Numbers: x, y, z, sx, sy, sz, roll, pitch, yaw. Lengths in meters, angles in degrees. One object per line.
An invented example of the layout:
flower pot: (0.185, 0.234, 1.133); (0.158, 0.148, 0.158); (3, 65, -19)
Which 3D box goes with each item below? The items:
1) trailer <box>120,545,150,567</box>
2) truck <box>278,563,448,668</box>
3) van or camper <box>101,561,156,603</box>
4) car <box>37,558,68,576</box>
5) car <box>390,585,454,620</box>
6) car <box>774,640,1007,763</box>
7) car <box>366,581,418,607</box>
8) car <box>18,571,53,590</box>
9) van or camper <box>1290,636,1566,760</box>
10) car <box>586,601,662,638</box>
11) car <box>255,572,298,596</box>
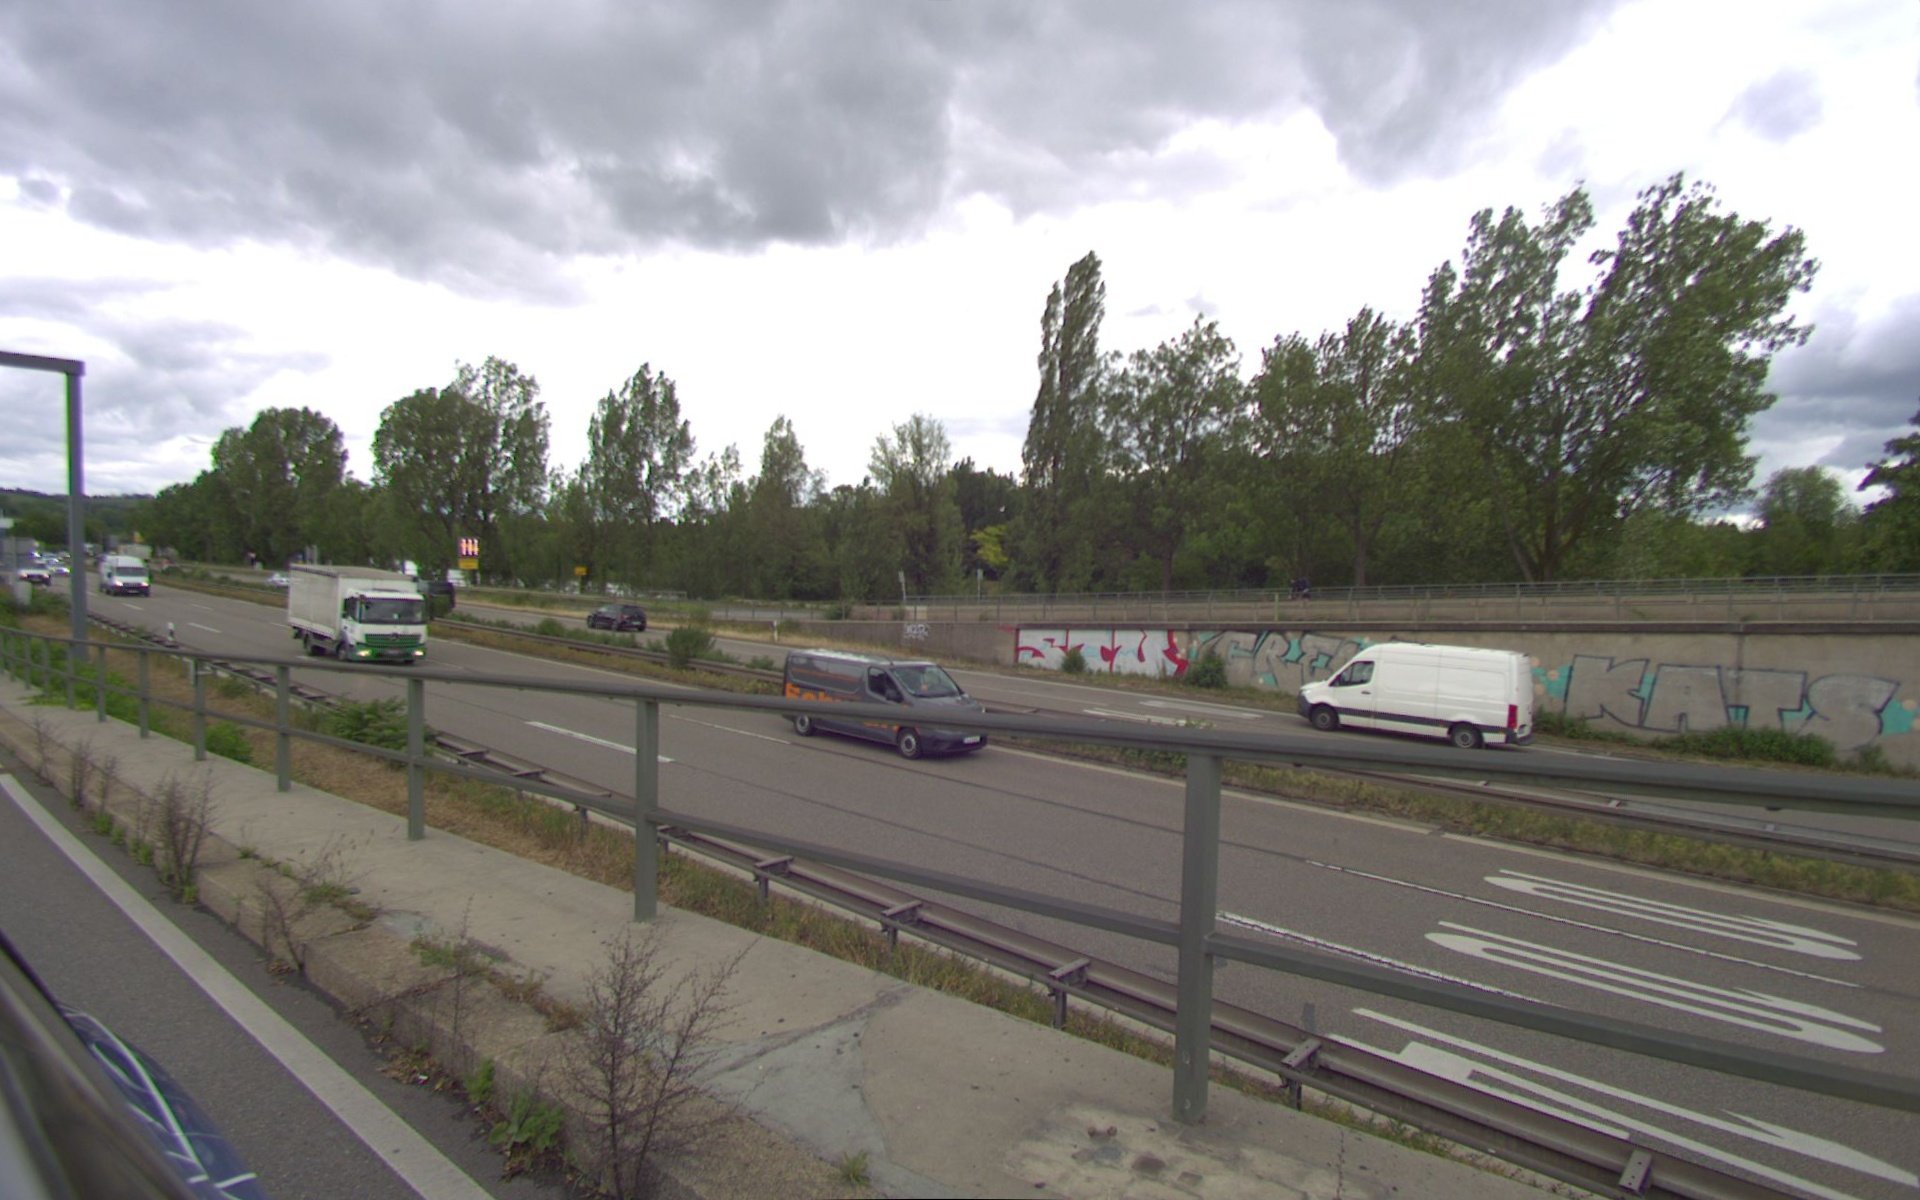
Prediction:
trailer: (-153.750, -8.193, 188.536); (13.519, 3.978, 2.759); (3, 3, 44)
truck: (-21.437, 0.427, 36.151); (7.567, 3.182, 3.000); (4, 2, 41)
van or camper: (-57.375, -1.291, 69.808); (6.331, 2.623, 2.180); (4, 3, 43)
car: (-94.411, -3.407, 105.242); (4.000, 1.758, 1.972); (2, 1, 42)
car: (-34.811, 0.128, 65.444); (5.116, 2.003, 2.069); (3, 1, 43)
car: (-1.688, 2.156, 22.977); (5.338, 2.028, 2.072); (4, 2, 41)
car: (-43.762, -0.492, 77.918); (4.701, 1.732, 1.973); (4, 2, 41)
car: (-73.274, -1.519, 80.206); (1.970, 1.410, 4.004); (1, 1, -44)
van or camper: (12.437, 2.469, 27.253); (6.343, 2.475, 2.160); (3, 3, 40)
car: (-18.456, 1.054, 55.484); (4.705, 1.705, 1.971); (4, 2, 44)
car: (-60.960, -1.475, 90.232); (4.704, 1.704, 1.972); (7, 4, 42)
